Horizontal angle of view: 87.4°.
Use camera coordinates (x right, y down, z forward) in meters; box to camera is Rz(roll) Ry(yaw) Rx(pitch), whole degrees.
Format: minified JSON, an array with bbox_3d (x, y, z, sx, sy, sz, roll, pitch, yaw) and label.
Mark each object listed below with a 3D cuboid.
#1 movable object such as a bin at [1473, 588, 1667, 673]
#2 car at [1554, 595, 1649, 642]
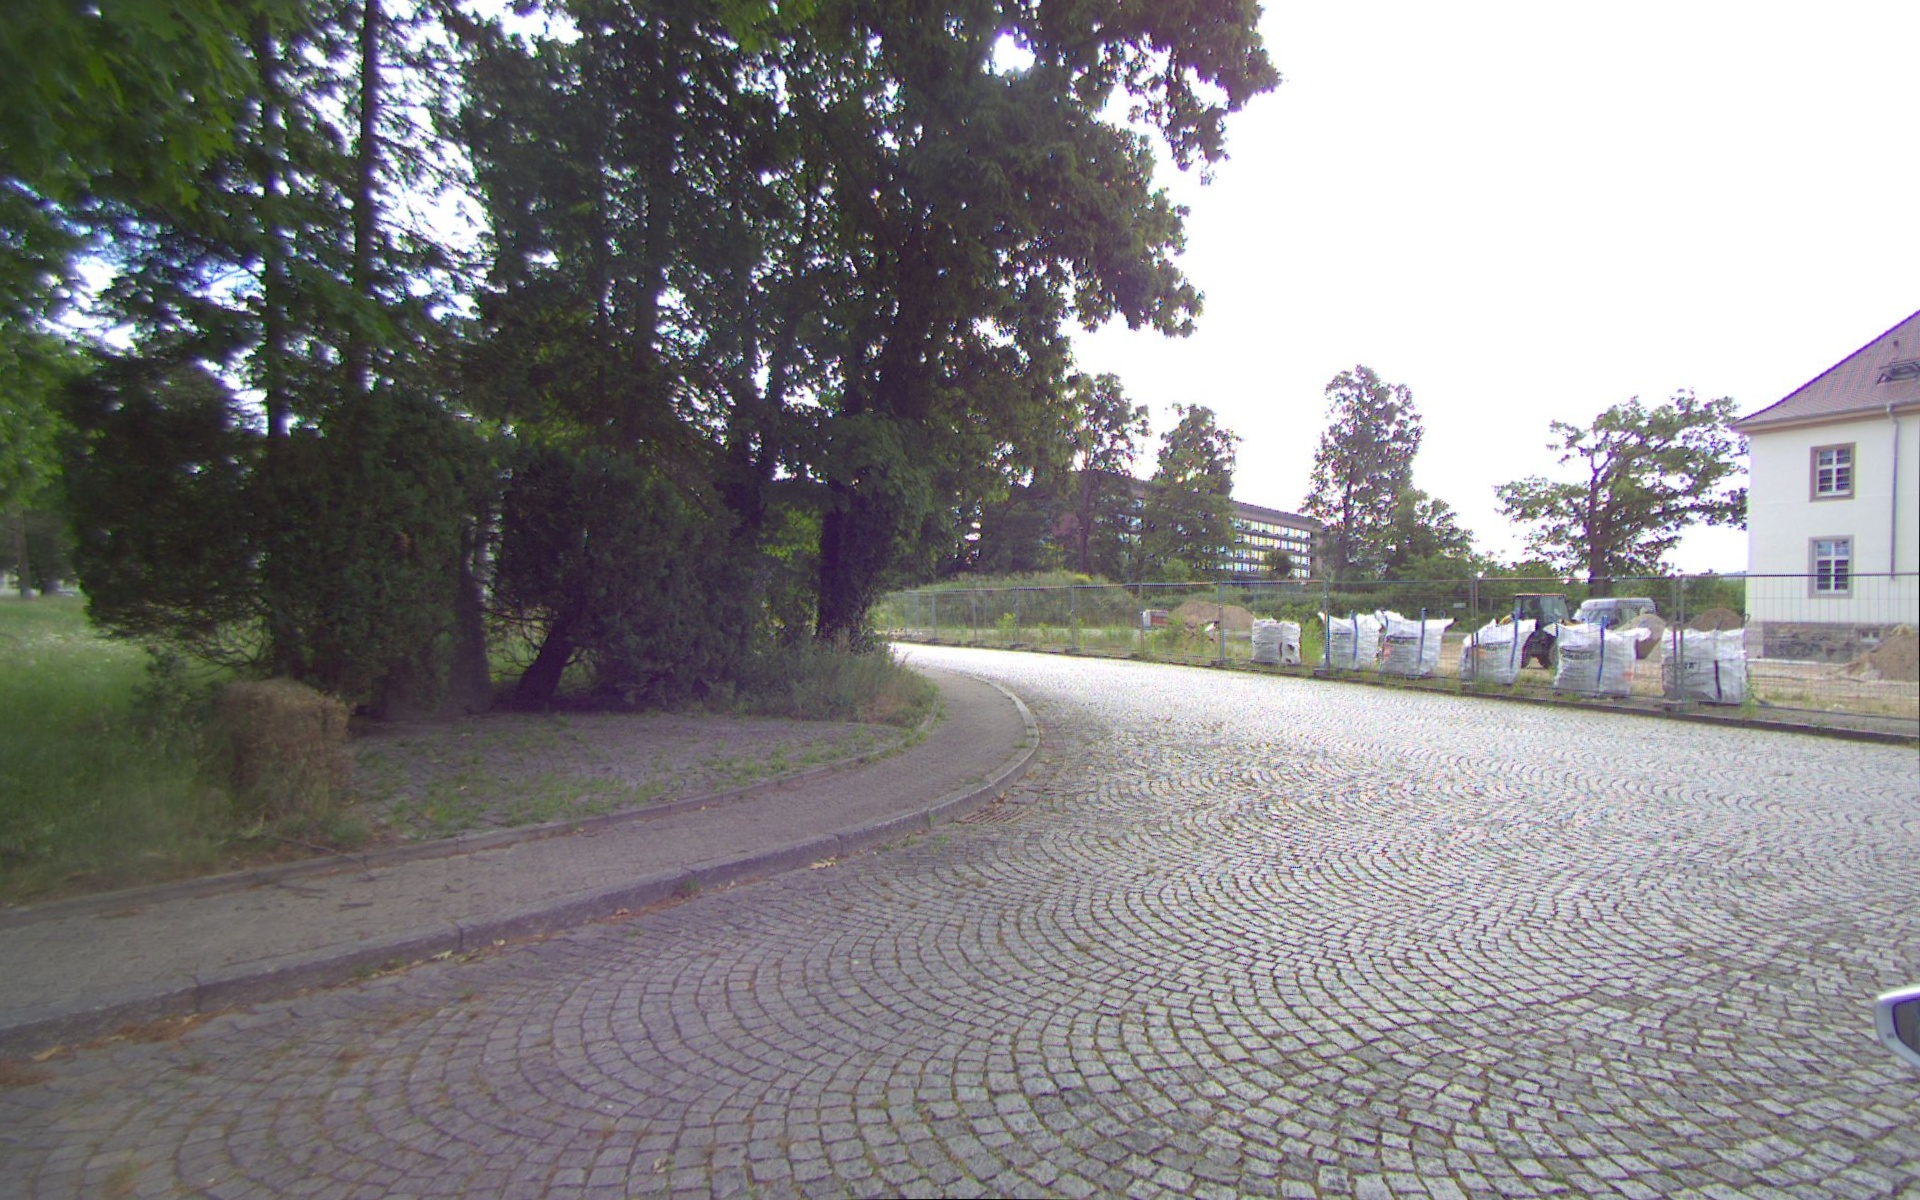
[{"bbox_3d":[20.123,0.947,33.443,1.974,2.590,5.310,1,0,-26],"label":"movable object such as a bin"},{"bbox_3d":[31.206,0.916,48.837,4.845,2.179,2.056,1,0,-32],"label":"car"}]
